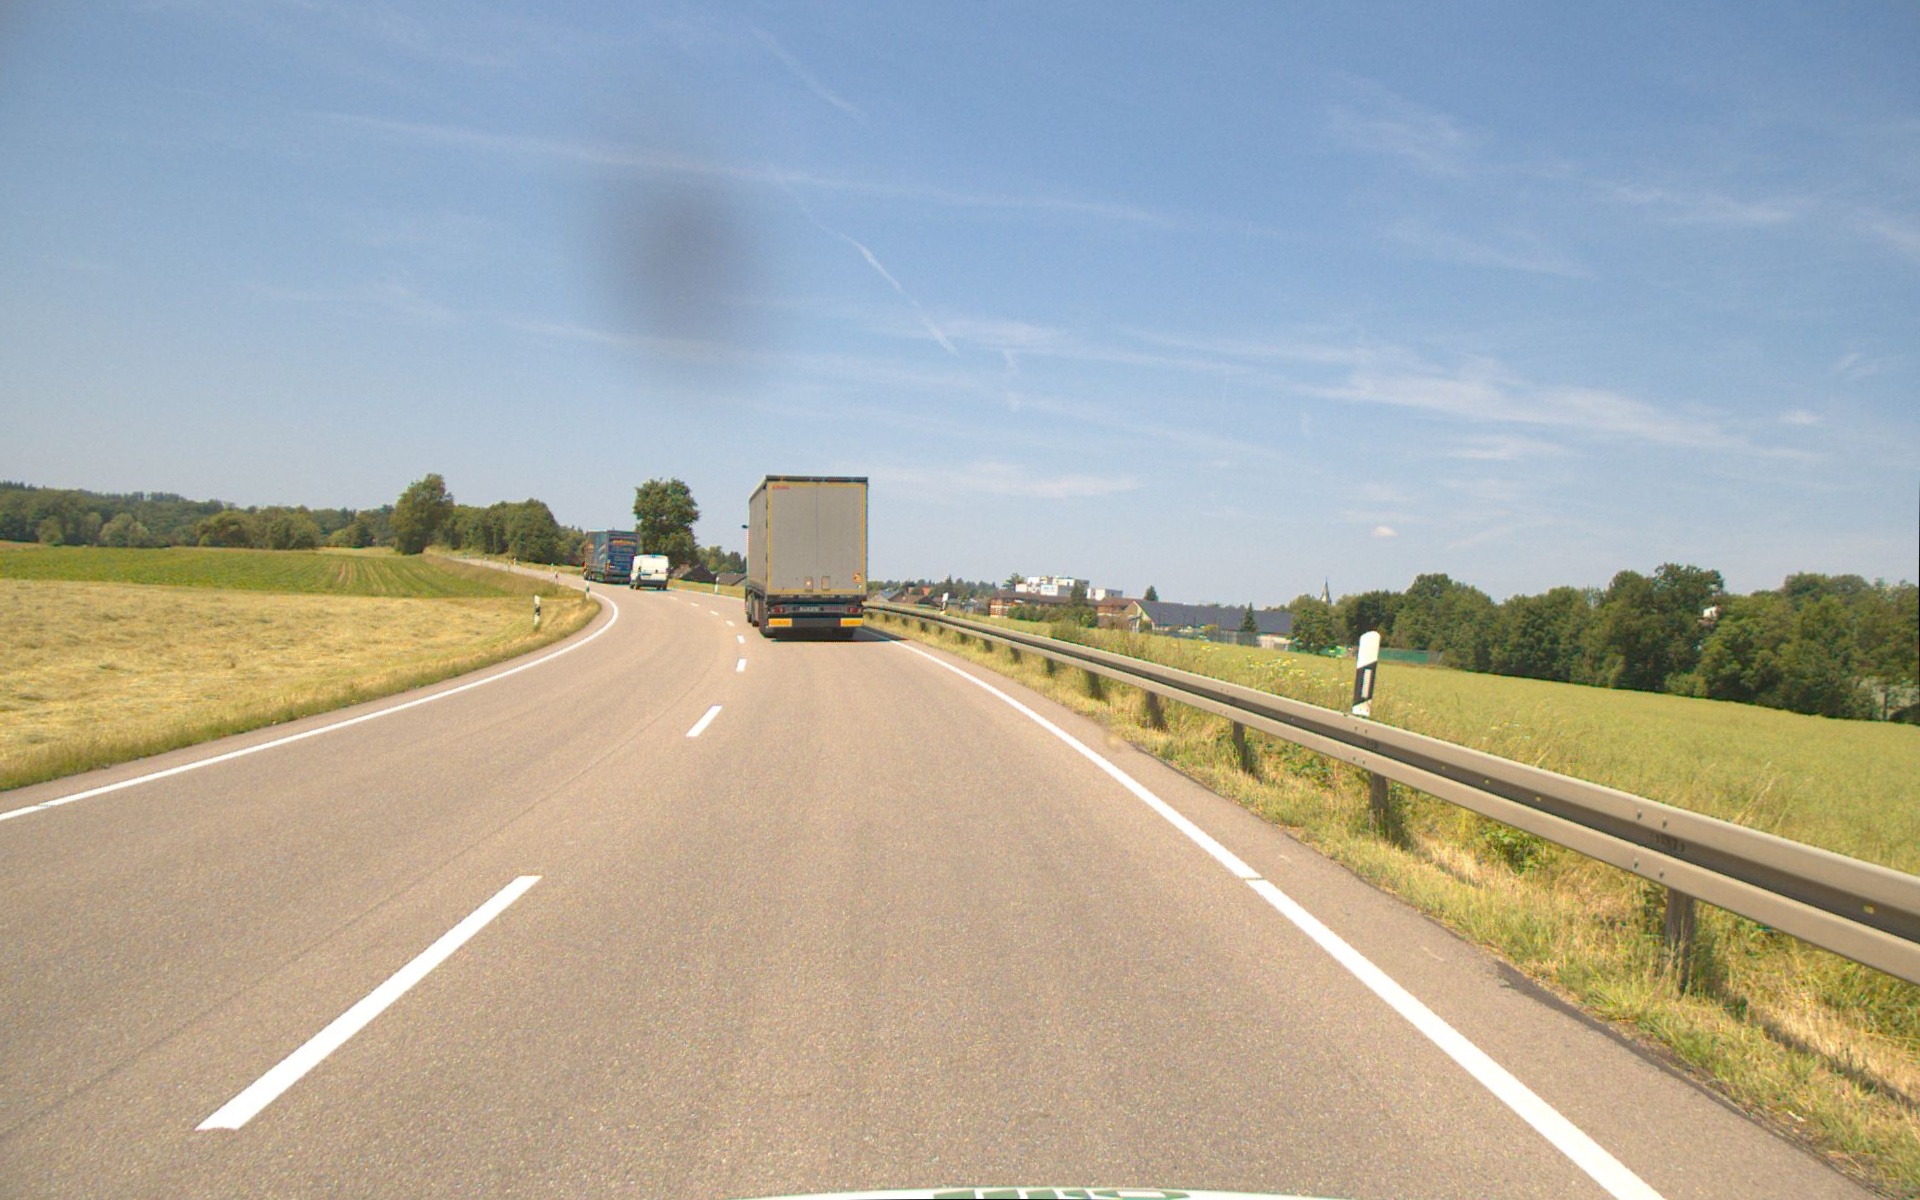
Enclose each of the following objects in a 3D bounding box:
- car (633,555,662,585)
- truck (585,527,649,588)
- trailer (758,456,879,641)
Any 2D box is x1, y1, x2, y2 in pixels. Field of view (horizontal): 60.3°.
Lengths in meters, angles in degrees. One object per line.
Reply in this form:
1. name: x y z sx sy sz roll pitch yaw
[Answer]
1. car: -20.831 -2.012 110.114 1.696 1.905 3.987 2 1 -13
2. truck: -27.886 -3.323 133.738 3.492 4.469 18.041 2 0 -16
3. trailer: -4.236 -1.350 46.805 2.813 4.477 13.471 0 1 -7
